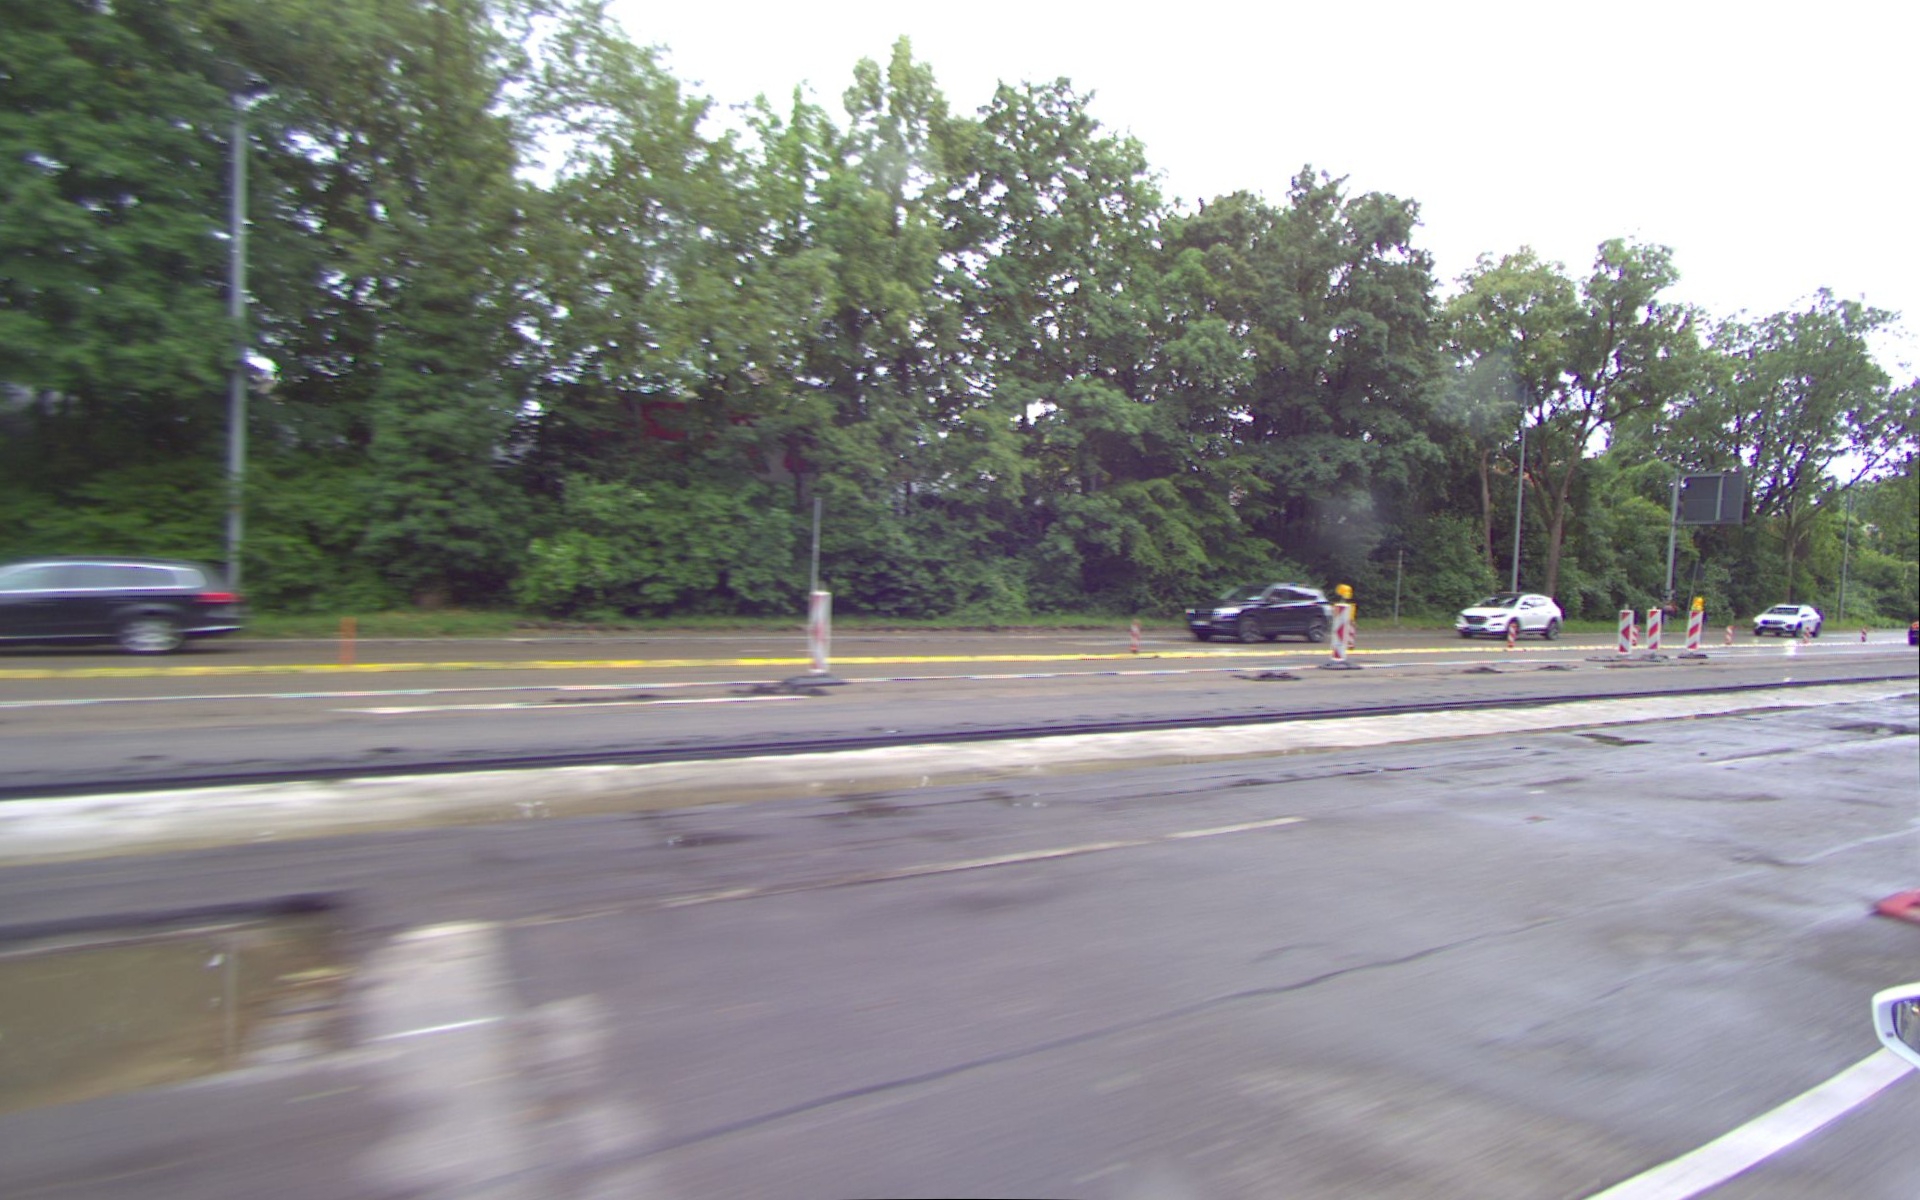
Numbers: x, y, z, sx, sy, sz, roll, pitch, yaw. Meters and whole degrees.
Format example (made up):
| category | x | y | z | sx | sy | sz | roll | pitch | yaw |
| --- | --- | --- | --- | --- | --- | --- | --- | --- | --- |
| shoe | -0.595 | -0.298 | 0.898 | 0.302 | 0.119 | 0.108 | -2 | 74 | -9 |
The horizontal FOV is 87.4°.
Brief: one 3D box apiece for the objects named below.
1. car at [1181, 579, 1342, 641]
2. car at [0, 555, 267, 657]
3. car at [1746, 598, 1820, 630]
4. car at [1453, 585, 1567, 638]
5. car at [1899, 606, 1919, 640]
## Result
| category | x | y | z | sx | sy | sz | roll | pitch | yaw |
| --- | --- | --- | --- | --- | --- | --- | --- | --- | --- |
| car | 8.797 | 0.299 | 29.147 | 4.863 | 1.685 | 1.766 | 1 | 0 | -33 |
| car | -13.661 | 0.077 | 15.607 | 4.629 | 1.472 | 1.774 | 1 | 1 | -32 |
| car | 41.041 | 0.711 | 50.045 | 4.112 | 1.561 | 1.657 | 1 | -1 | -32 |
| car | 19.913 | 0.417 | 36.325 | 4.333 | 1.774 | 1.766 | 1 | 1 | -33 |
| car | 43.309 | 1.033 | 44.517 | 3.999 | 1.423 | 1.597 | 1 | 2 | -34 |
